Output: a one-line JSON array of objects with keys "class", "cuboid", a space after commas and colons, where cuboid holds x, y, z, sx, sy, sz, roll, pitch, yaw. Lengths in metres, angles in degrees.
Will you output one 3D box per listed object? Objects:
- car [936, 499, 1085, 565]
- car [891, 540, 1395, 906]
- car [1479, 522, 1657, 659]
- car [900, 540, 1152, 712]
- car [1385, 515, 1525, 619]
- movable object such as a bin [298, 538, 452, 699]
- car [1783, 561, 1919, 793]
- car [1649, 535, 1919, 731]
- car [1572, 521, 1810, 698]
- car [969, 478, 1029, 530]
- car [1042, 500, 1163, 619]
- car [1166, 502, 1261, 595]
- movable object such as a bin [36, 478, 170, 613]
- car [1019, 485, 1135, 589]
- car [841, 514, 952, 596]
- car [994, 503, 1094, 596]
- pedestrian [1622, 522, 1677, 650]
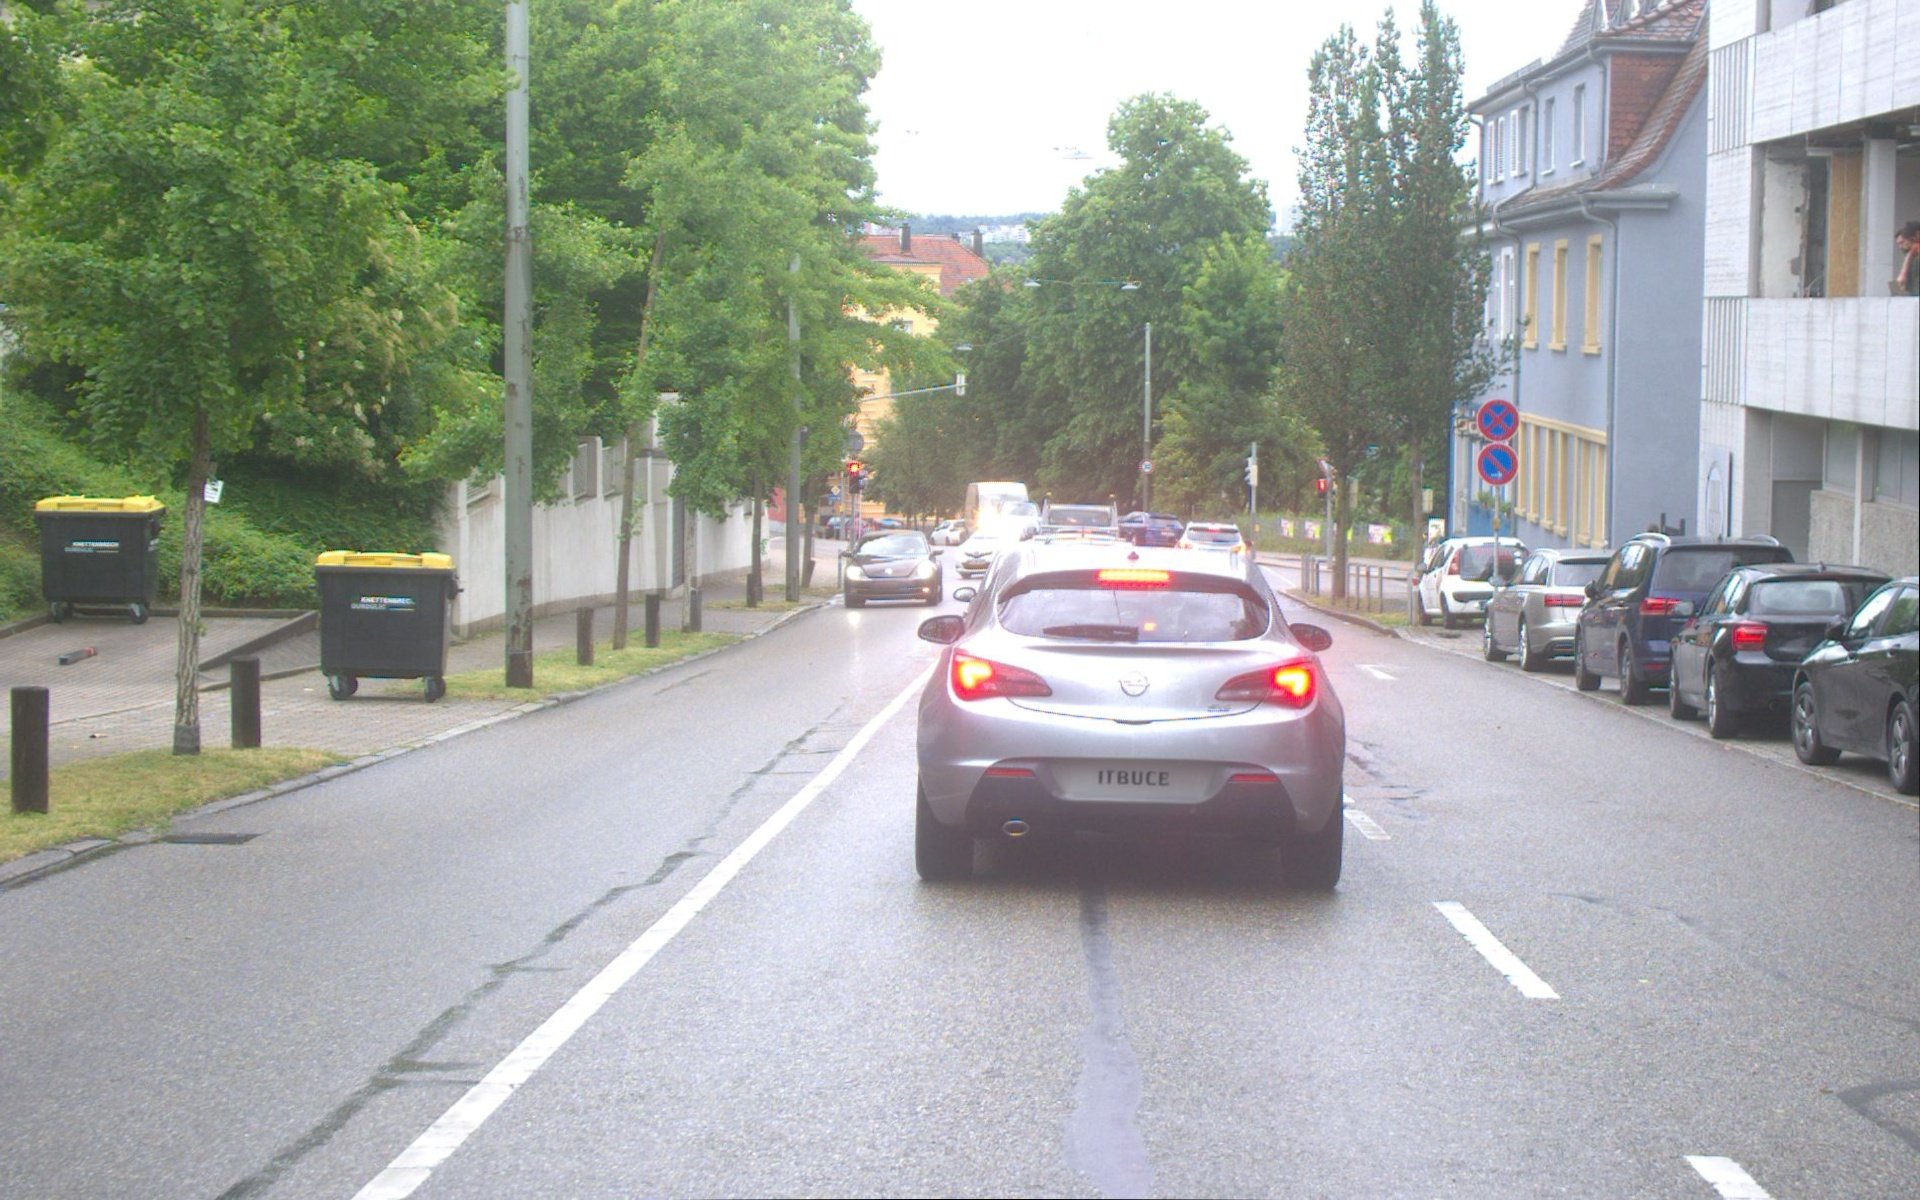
[{"class": "car", "cuboid": [1.341, -1.780, 89.720, 1.827, 1.474, 3.855, -1, 3, 40]}, {"class": "car", "cuboid": [0.703, 0.466, 15.848, 1.945, 1.427, 3.885, 1, 1, -2]}, {"class": "car", "cuboid": [7.297, -0.159, 41.558, 1.584, 1.488, 4.290, 0, 2, 3]}, {"class": "car", "cuboid": [0.490, 0.173, 29.262, 1.797, 1.318, 4.001, 1, 1, -3]}, {"class": "car", "cuboid": [8.069, -0.564, 56.306, 1.906, 1.565, 4.000, 0, 2, 3]}, {"class": "movable object such as a bin", "cuboid": [-5.233, 0.162, 30.777, 1.272, 1.382, 0.489, 2, 2, 0]}, {"class": "car", "cuboid": [6.864, 0.468, 23.585, 1.503, 1.430, 4.000, 0, 1, 1]}, {"class": "car", "cuboid": [7.030, 0.224, 29.314, 1.681, 1.459, 4.000, 0, 2, 3]}, {"class": "car", "cuboid": [7.161, 0.043, 34.022, 1.686, 1.565, 4.000, 0, 2, 3]}, {"class": "car", "cuboid": [1.481, -3.623, 128.700, 1.994, 1.778, 4.000, 3, 2, 3]}, {"class": "car", "cuboid": [2.361, -0.717, 57.883, 1.768, 1.775, 3.977, 3, 2, 0]}, {"class": "car", "cuboid": [6.127, -1.285, 83.494, 1.994, 2.029, 4.735, 3, 3, 2]}, {"class": "movable object such as a bin", "cuboid": [-9.100, -0.583, 36.518, 1.272, 1.382, 0.489, 2, 2, 0]}, {"class": "car", "cuboid": [2.557, -1.414, 74.959, 2.334, 2.029, 4.735, 3, 3, 2]}, {"class": "car", "cuboid": [-1.220, -0.908, 67.557, 1.850, 1.464, 4.087, -3, 1, 3]}, {"class": "car", "cuboid": [1.597, -1.002, 66.795, 1.754, 1.645, 4.000, 3, 1, 0]}, {"class": "pedestrian", "cuboid": [9.741, -0.207, 48.576, 0.645, 1.778, 0.542, 1, 2, 3]}]
